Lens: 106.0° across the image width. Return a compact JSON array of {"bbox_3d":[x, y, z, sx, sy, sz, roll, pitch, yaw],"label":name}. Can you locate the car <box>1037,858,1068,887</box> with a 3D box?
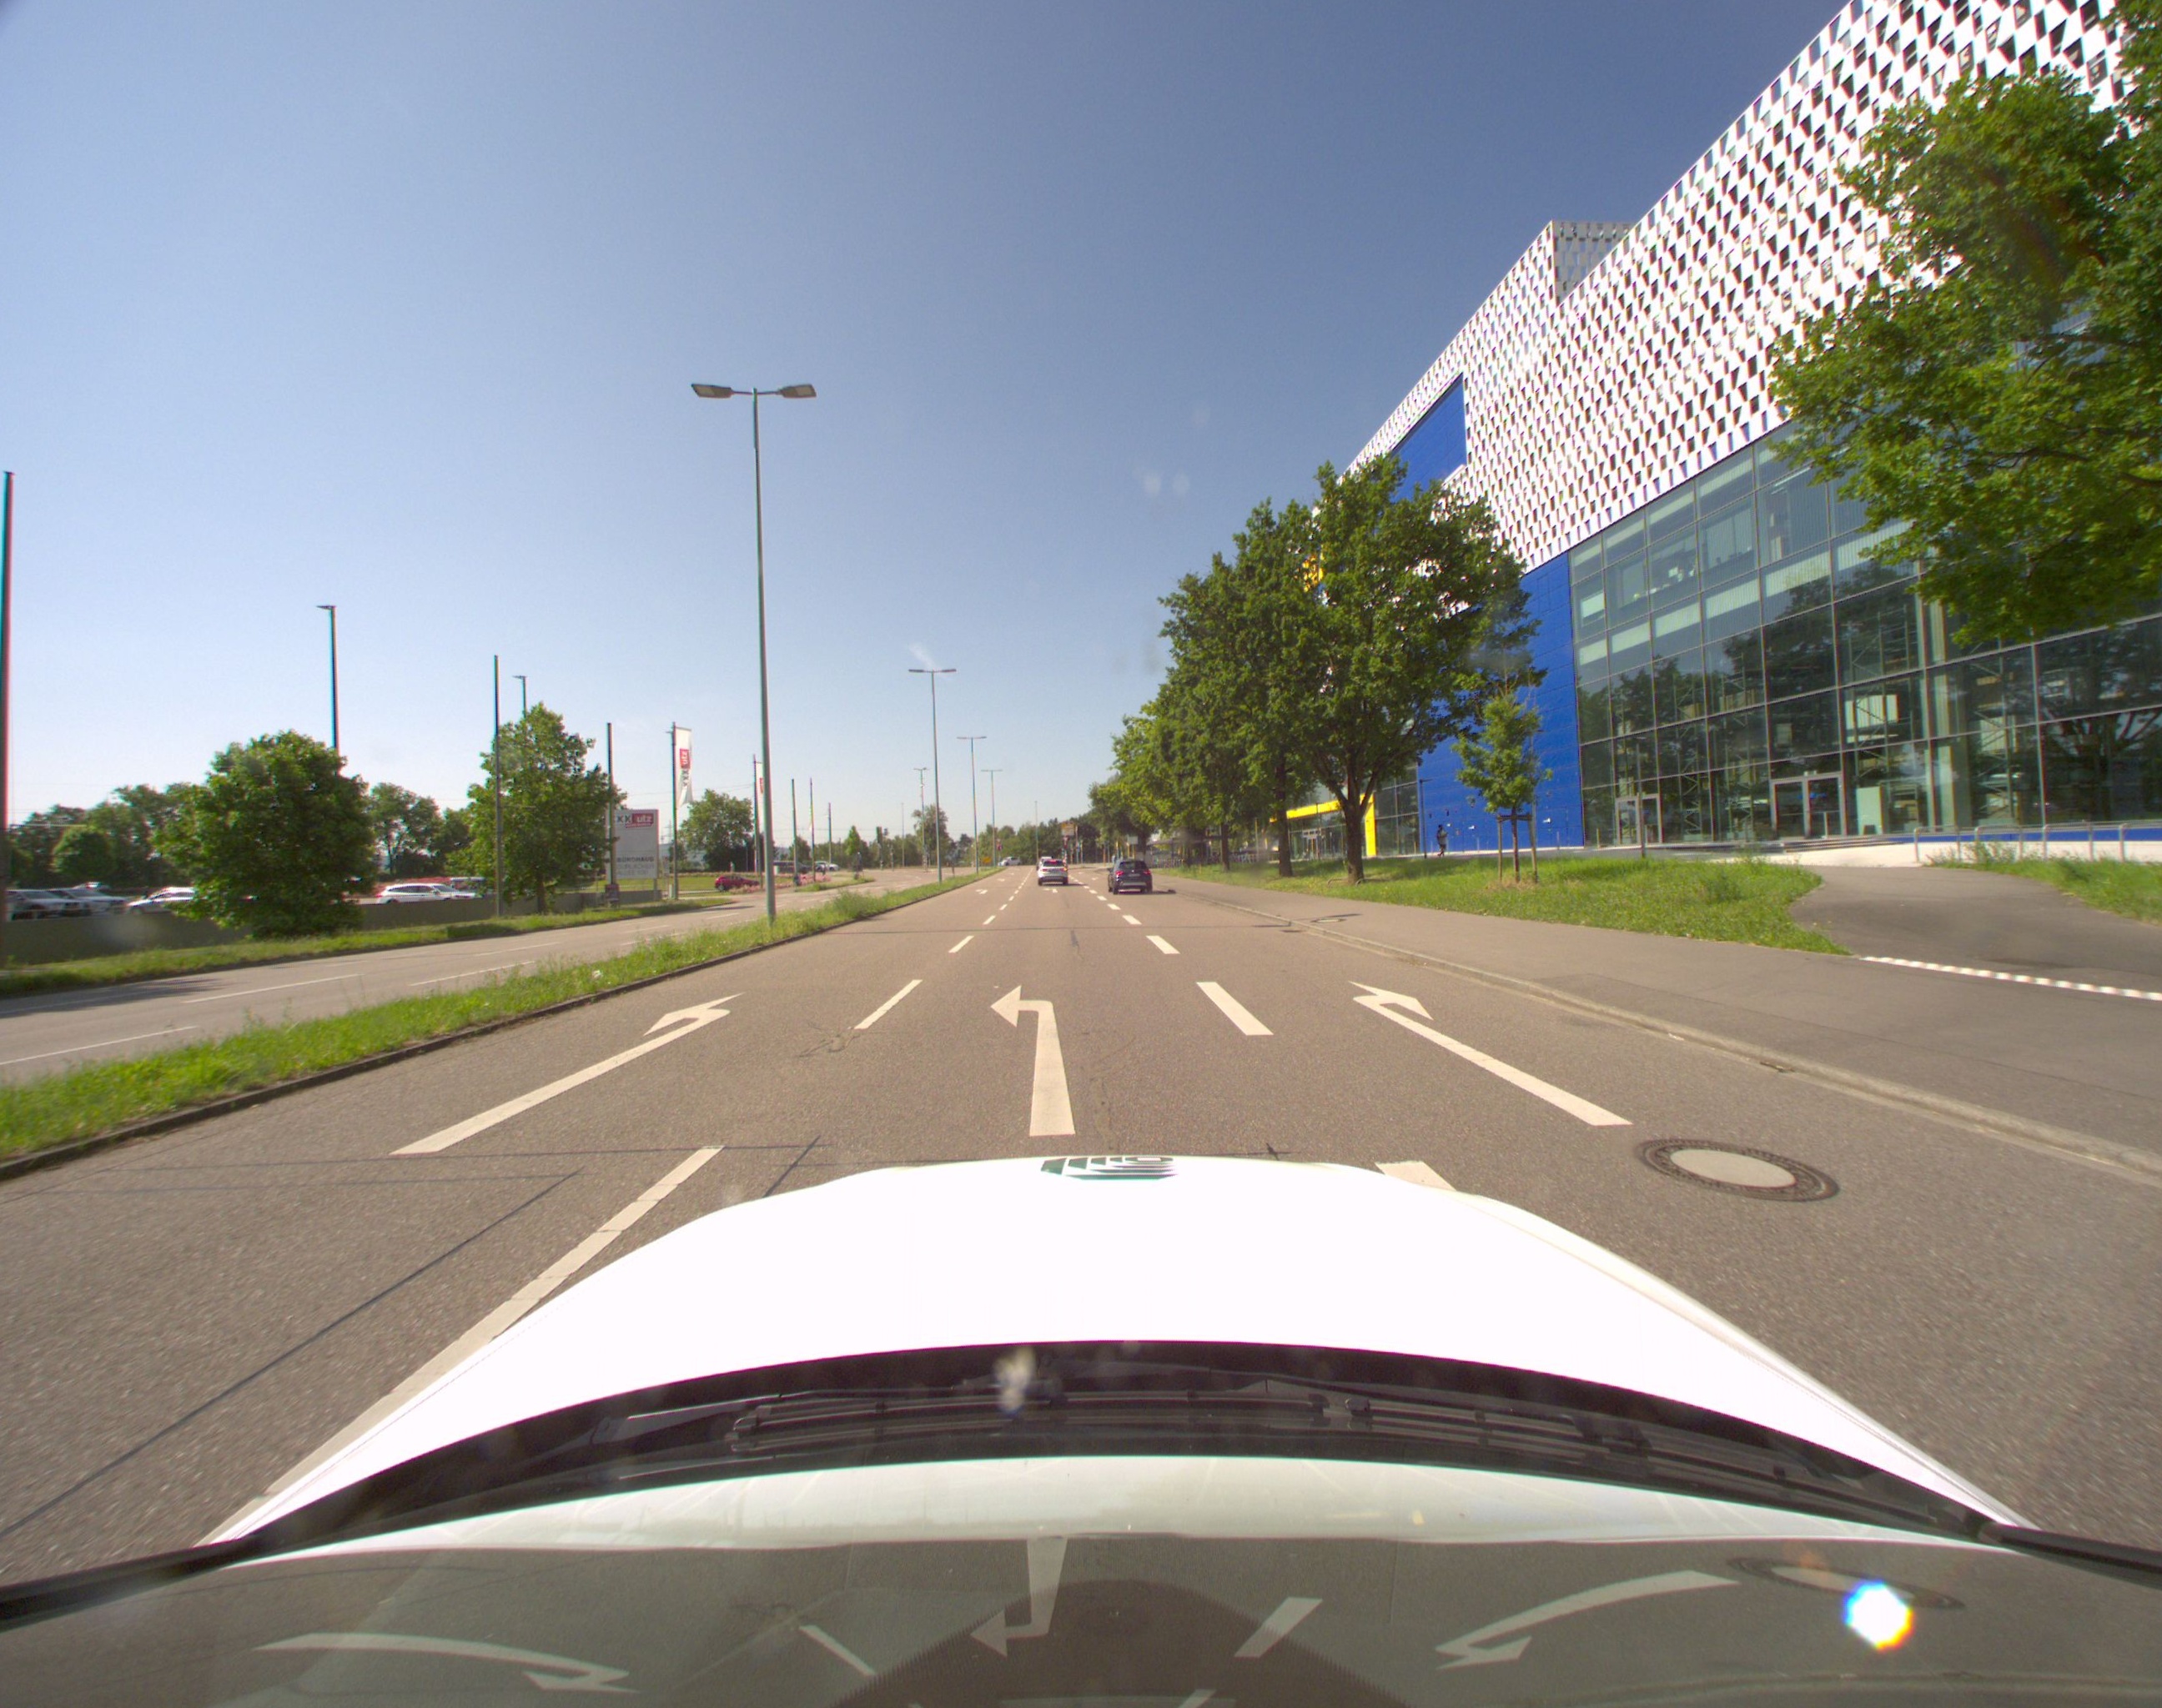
[{"bbox_3d":[-1.709,1.068,48.048,1.628,1.498,3.864,-1,2,-4],"label":"car"}]

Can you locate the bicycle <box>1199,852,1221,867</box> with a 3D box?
[{"bbox_3d":[10.674,0.454,67.334,1.754,1.096,0.451,-3,-1,-4],"label":"bicycle"}]

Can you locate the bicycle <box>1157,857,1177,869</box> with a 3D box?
[{"bbox_3d":[8.124,0.854,76.684,1.754,1.096,0.451,-2,0,-4],"label":"bicycle"}]

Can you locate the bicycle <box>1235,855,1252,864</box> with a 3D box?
[{"bbox_3d":[16.211,0.566,81.224,1.557,0.843,0.433,-2,0,-2],"label":"bicycle"}]

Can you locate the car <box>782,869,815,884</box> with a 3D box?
[{"bbox_3d":[-38.157,3.048,109.974,3.955,1.925,1.825,-1,0,18],"label":"car"}]

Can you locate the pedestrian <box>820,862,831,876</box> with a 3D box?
[{"bbox_3d":[-31.842,1.895,101.452,0.835,1.707,0.908,-3,0,9],"label":"pedestrian"}]

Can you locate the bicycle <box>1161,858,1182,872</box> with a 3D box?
[{"bbox_3d":[7.855,0.958,70.851,1.754,1.096,0.451,-2,0,-4],"label":"bicycle"}]

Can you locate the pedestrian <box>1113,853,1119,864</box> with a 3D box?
[{"bbox_3d":[4.930,0.607,114.377,0.768,1.510,1.010,-2,1,8],"label":"pedestrian"}]

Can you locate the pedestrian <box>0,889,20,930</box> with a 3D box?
[{"bbox_3d":[-55.217,2.854,41.530,0.855,2.013,1.025,-3,0,11],"label":"pedestrian"}]

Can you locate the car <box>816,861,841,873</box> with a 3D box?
[{"bbox_3d":[-37.298,1.922,120.404,3.340,1.500,1.406,-2,-2,-8],"label":"car"}]

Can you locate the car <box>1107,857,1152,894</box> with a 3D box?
[{"bbox_3d":[2.091,0.926,36.211,1.665,1.523,3.374,-1,0,-2],"label":"car"}]

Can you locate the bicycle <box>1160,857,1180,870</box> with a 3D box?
[{"bbox_3d":[8.181,0.863,74.673,1.754,1.096,0.451,-2,0,-4],"label":"bicycle"}]

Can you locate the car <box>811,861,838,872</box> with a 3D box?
[{"bbox_3d":[-36.731,1.809,116.493,3.381,1.500,1.407,-2,-2,-6],"label":"car"}]

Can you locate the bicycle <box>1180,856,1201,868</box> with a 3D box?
[{"bbox_3d":[10.154,0.754,75.554,1.754,1.096,0.451,-2,0,-4],"label":"bicycle"}]

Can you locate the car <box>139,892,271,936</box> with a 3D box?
[{"bbox_3d":[-48.276,3.273,44.972,4.665,2.013,2.025,-3,0,-7],"label":"car"}]

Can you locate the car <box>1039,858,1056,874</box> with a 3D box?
[{"bbox_3d":[-3.638,1.230,87.619,1.703,1.573,4.167,-3,0,-4],"label":"car"}]

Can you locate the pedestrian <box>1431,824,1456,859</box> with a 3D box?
[{"bbox_3d":[17.357,-0.585,39.005,0.687,1.612,0.769,-3,0,-7],"label":"pedestrian"}]

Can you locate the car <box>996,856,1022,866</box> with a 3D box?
[{"bbox_3d":[-11.971,1.146,135.774,1.777,1.547,4.111,-3,-1,44],"label":"car"}]

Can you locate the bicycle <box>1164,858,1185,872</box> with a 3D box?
[{"bbox_3d":[7.957,0.947,69.357,1.754,1.096,0.451,-2,0,-4],"label":"bicycle"}]

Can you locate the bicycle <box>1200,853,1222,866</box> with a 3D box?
[{"bbox_3d":[11.250,0.493,70.508,1.754,1.096,0.451,-2,0,-4],"label":"bicycle"}]

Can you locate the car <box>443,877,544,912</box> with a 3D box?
[{"bbox_3d":[-34.723,2.382,48.228,4.404,1.843,1.943,-2,-1,-4],"label":"car"}]

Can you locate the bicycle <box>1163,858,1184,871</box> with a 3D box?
[{"bbox_3d":[8.290,0.959,73.151,1.754,1.096,0.451,-2,0,-4],"label":"bicycle"}]

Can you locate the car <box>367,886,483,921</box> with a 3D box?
[{"bbox_3d":[-34.670,2.598,43.128,4.406,1.627,1.868,-2,-1,-6],"label":"car"}]

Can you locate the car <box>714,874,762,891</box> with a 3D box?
[{"bbox_3d":[-35.808,3.009,85.141,4.180,1.606,1.821,-2,-2,-8],"label":"car"}]

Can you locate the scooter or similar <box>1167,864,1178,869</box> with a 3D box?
[{"bbox_3d":[8.977,1.243,79.626,0.909,0.451,0.965,-4,-2,17],"label":"scooter or similar"}]

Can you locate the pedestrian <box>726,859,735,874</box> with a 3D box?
[{"bbox_3d":[-44.296,1.584,102.830,0.713,1.972,0.918,-2,-2,1],"label":"pedestrian"}]

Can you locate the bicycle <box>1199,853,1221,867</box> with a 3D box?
[{"bbox_3d":[11.006,0.505,69.323,1.754,1.096,0.451,-2,0,-4],"label":"bicycle"}]
